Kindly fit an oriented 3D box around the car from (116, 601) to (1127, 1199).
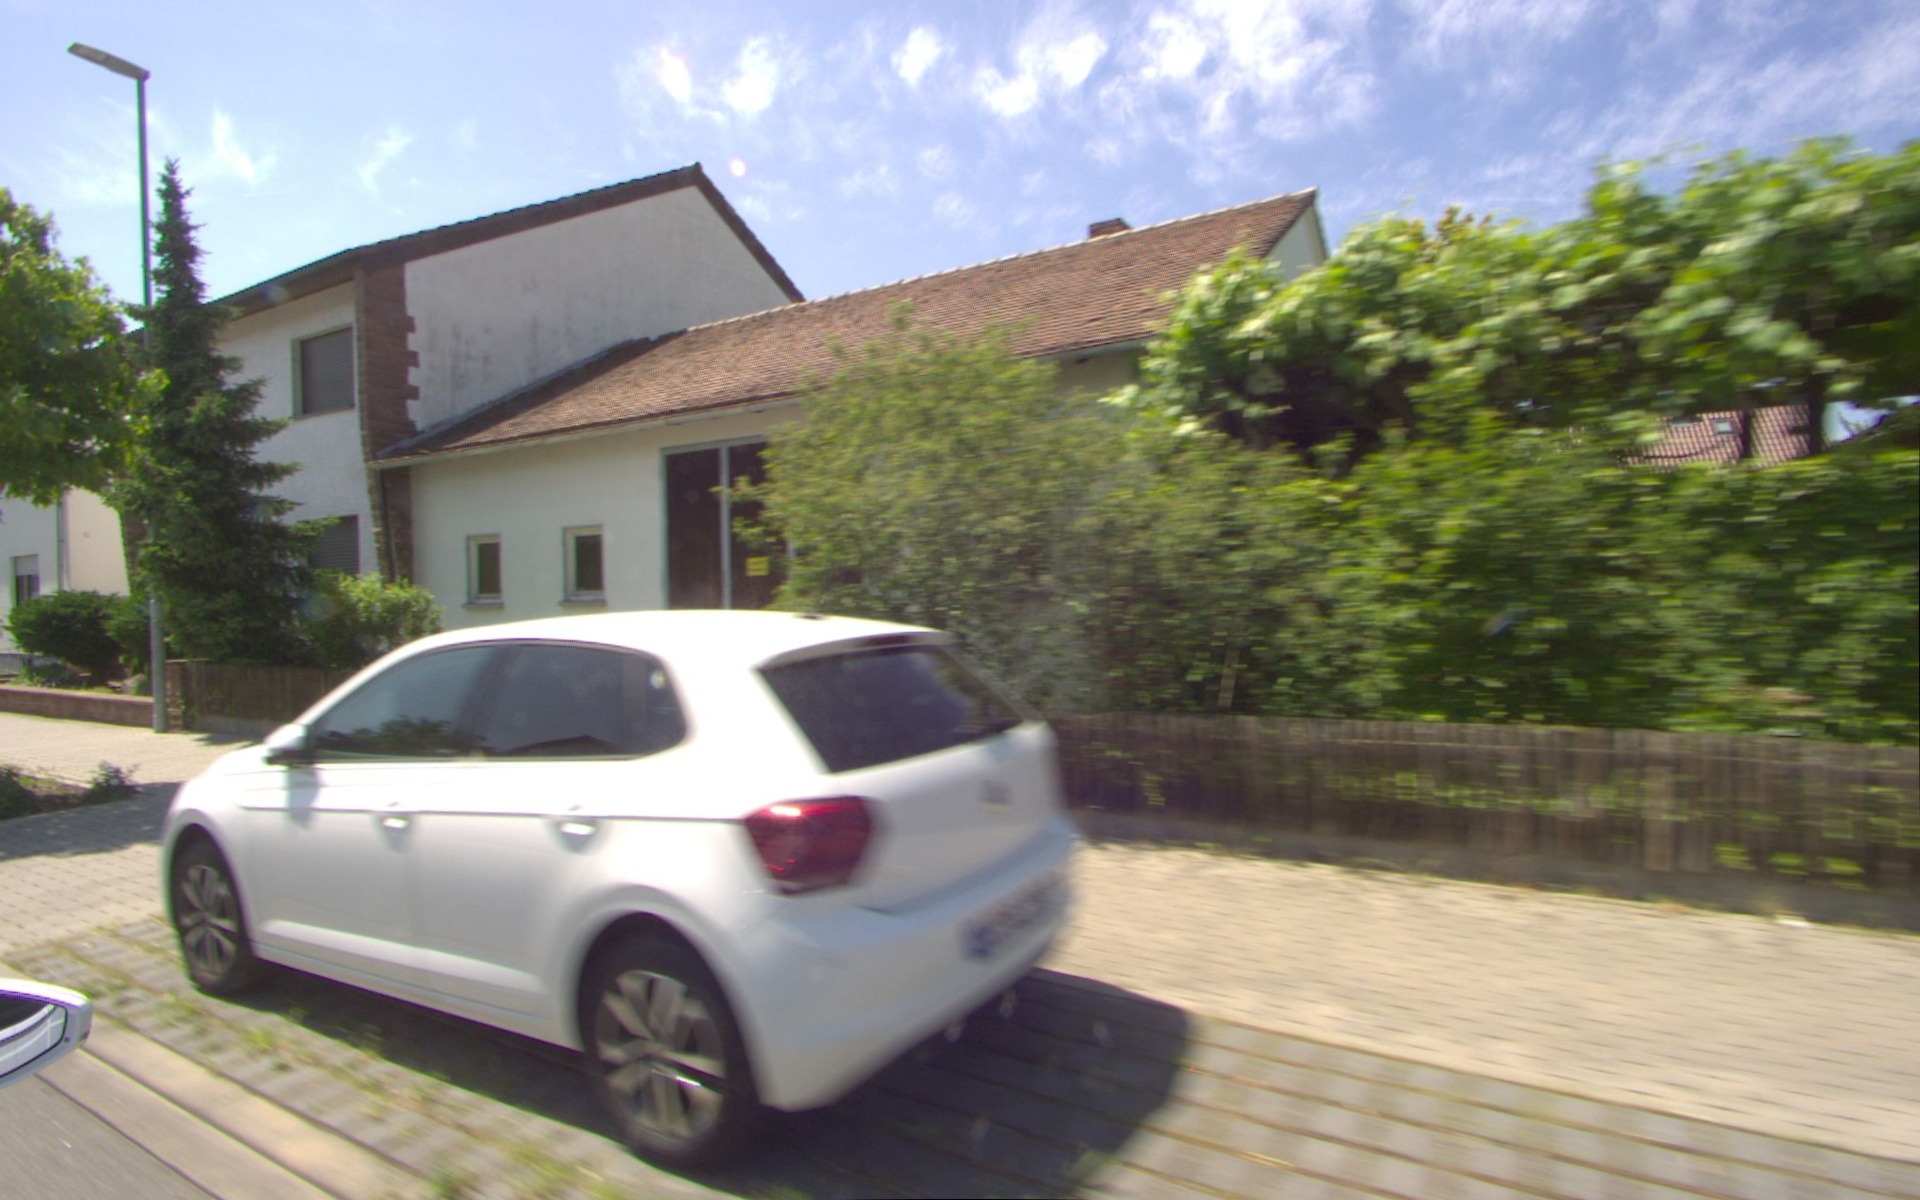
[{"bbox_3d":[-1.461,0.739,3.990,3.812,1.439,1.811,0,0,32],"label":"car"}]
